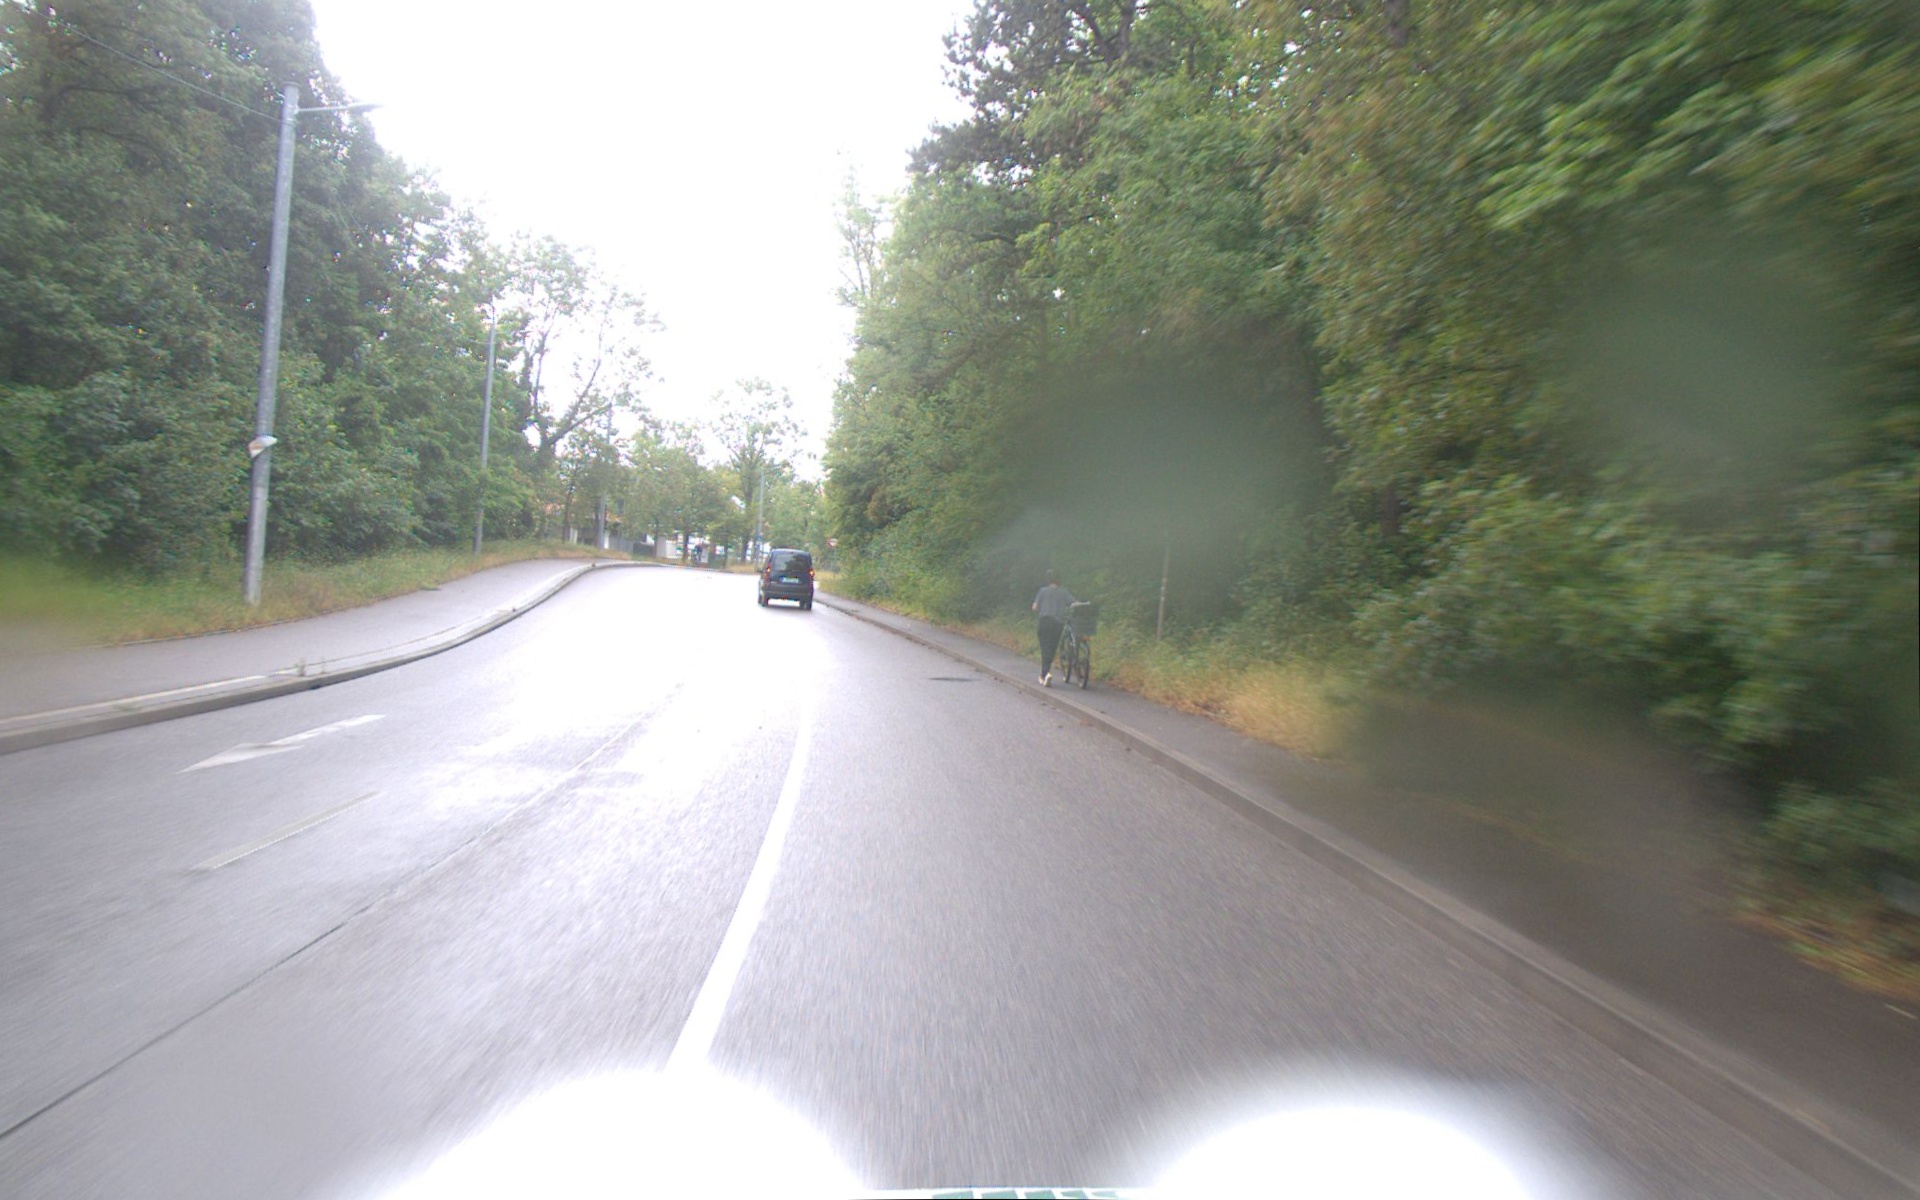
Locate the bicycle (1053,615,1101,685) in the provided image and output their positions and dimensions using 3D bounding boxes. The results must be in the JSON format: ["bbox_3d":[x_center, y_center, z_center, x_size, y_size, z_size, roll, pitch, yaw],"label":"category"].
[{"bbox_3d":[1.625,0.678,23.080,0.349,0.863,1.741,-1,2,-6],"label":"bicycle"}]

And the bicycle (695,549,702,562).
[{"bbox_3d":[-17.669,-3.002,111.934,0.349,0.863,2.091,3,2,-6],"label":"bicycle"}]

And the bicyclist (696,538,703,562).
[{"bbox_3d":[-17.652,-3.363,111.923,0.329,1.601,1.296,3,1,-7],"label":"bicyclist"}]

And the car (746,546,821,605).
[{"bbox_3d":[-5.788,-0.755,53.935,1.797,1.825,3.983,1,-1,-15],"label":"car"}]

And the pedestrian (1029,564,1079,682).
[{"bbox_3d":[1.305,0.323,23.034,0.553,1.605,0.768,1,-2,-6],"label":"pedestrian"}]
